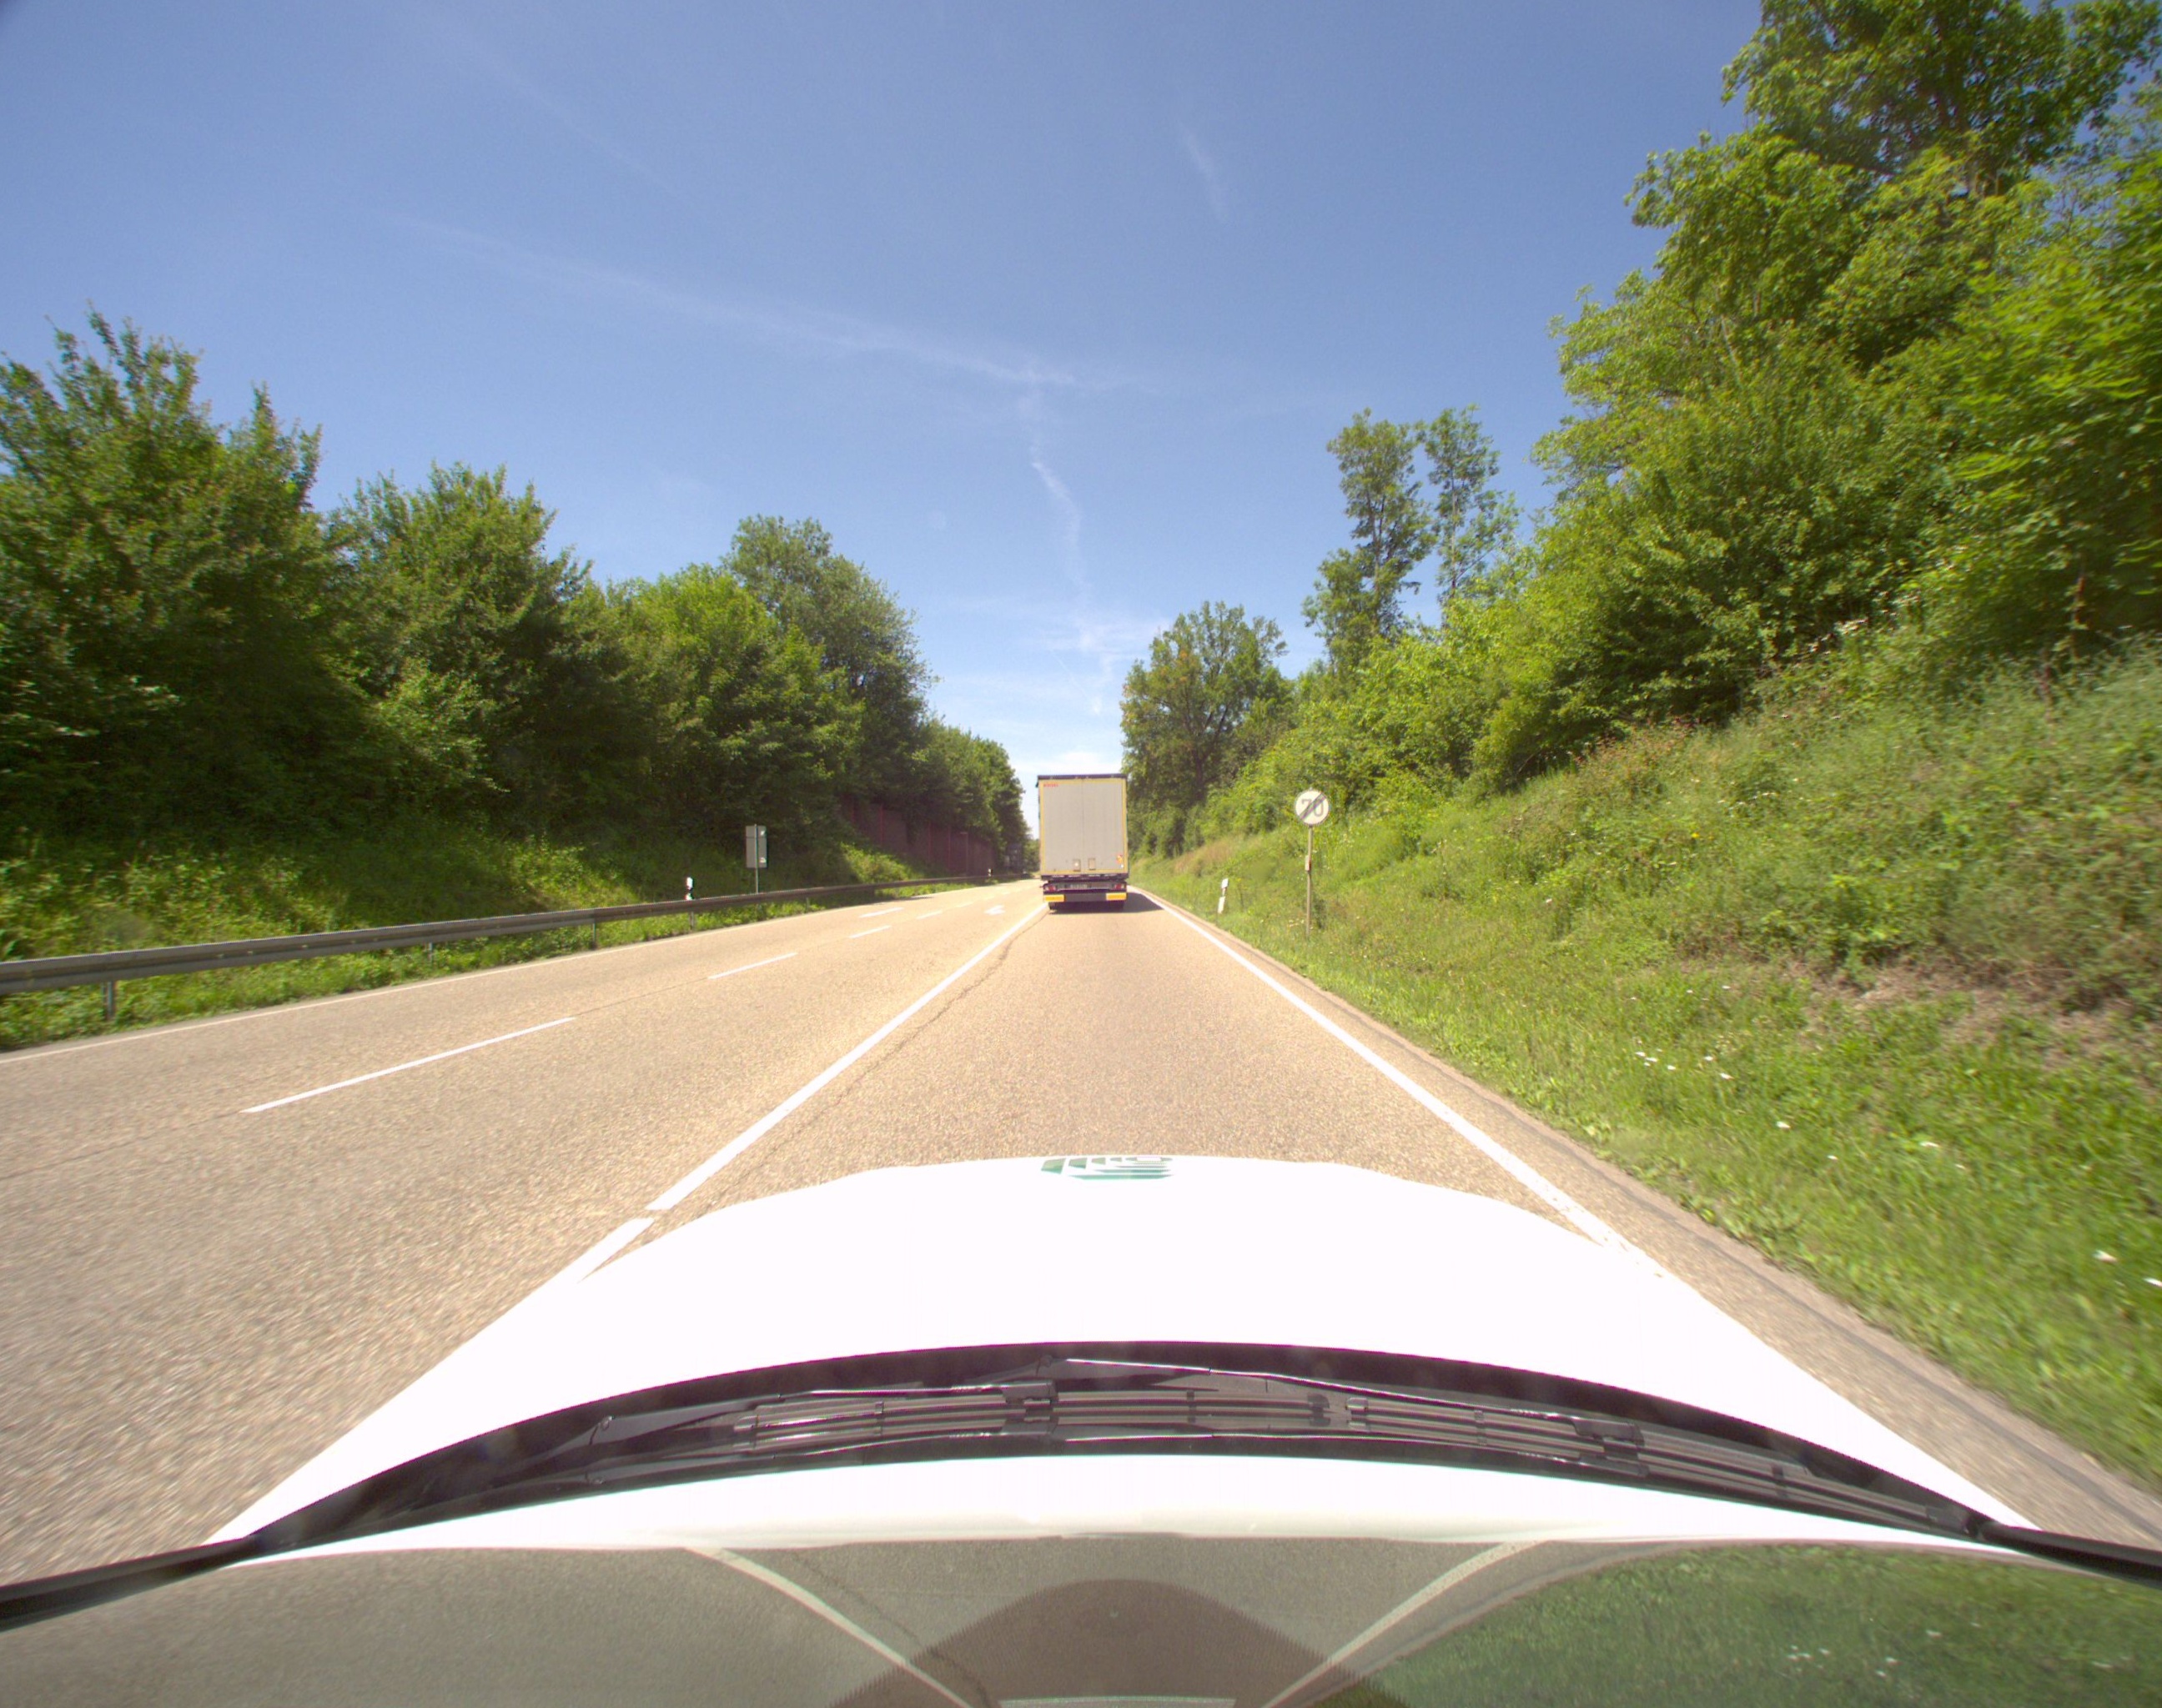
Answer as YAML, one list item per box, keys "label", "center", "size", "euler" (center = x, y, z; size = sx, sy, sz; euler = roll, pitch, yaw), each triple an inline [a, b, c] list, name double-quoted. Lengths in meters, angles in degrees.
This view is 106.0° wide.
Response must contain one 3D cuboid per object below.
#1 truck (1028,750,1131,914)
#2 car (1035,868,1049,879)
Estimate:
- label: "truck"
  center: [0.047, -0.641, 26.499]
  size: [2.812, 4.603, 6.667]
  euler: [-1, 0, 1]
- label: "car"
  center: [-5.383, 2.613, 111.257]
  size: [1.803, 1.435, 3.865]
  euler: [-2, -1, -5]
